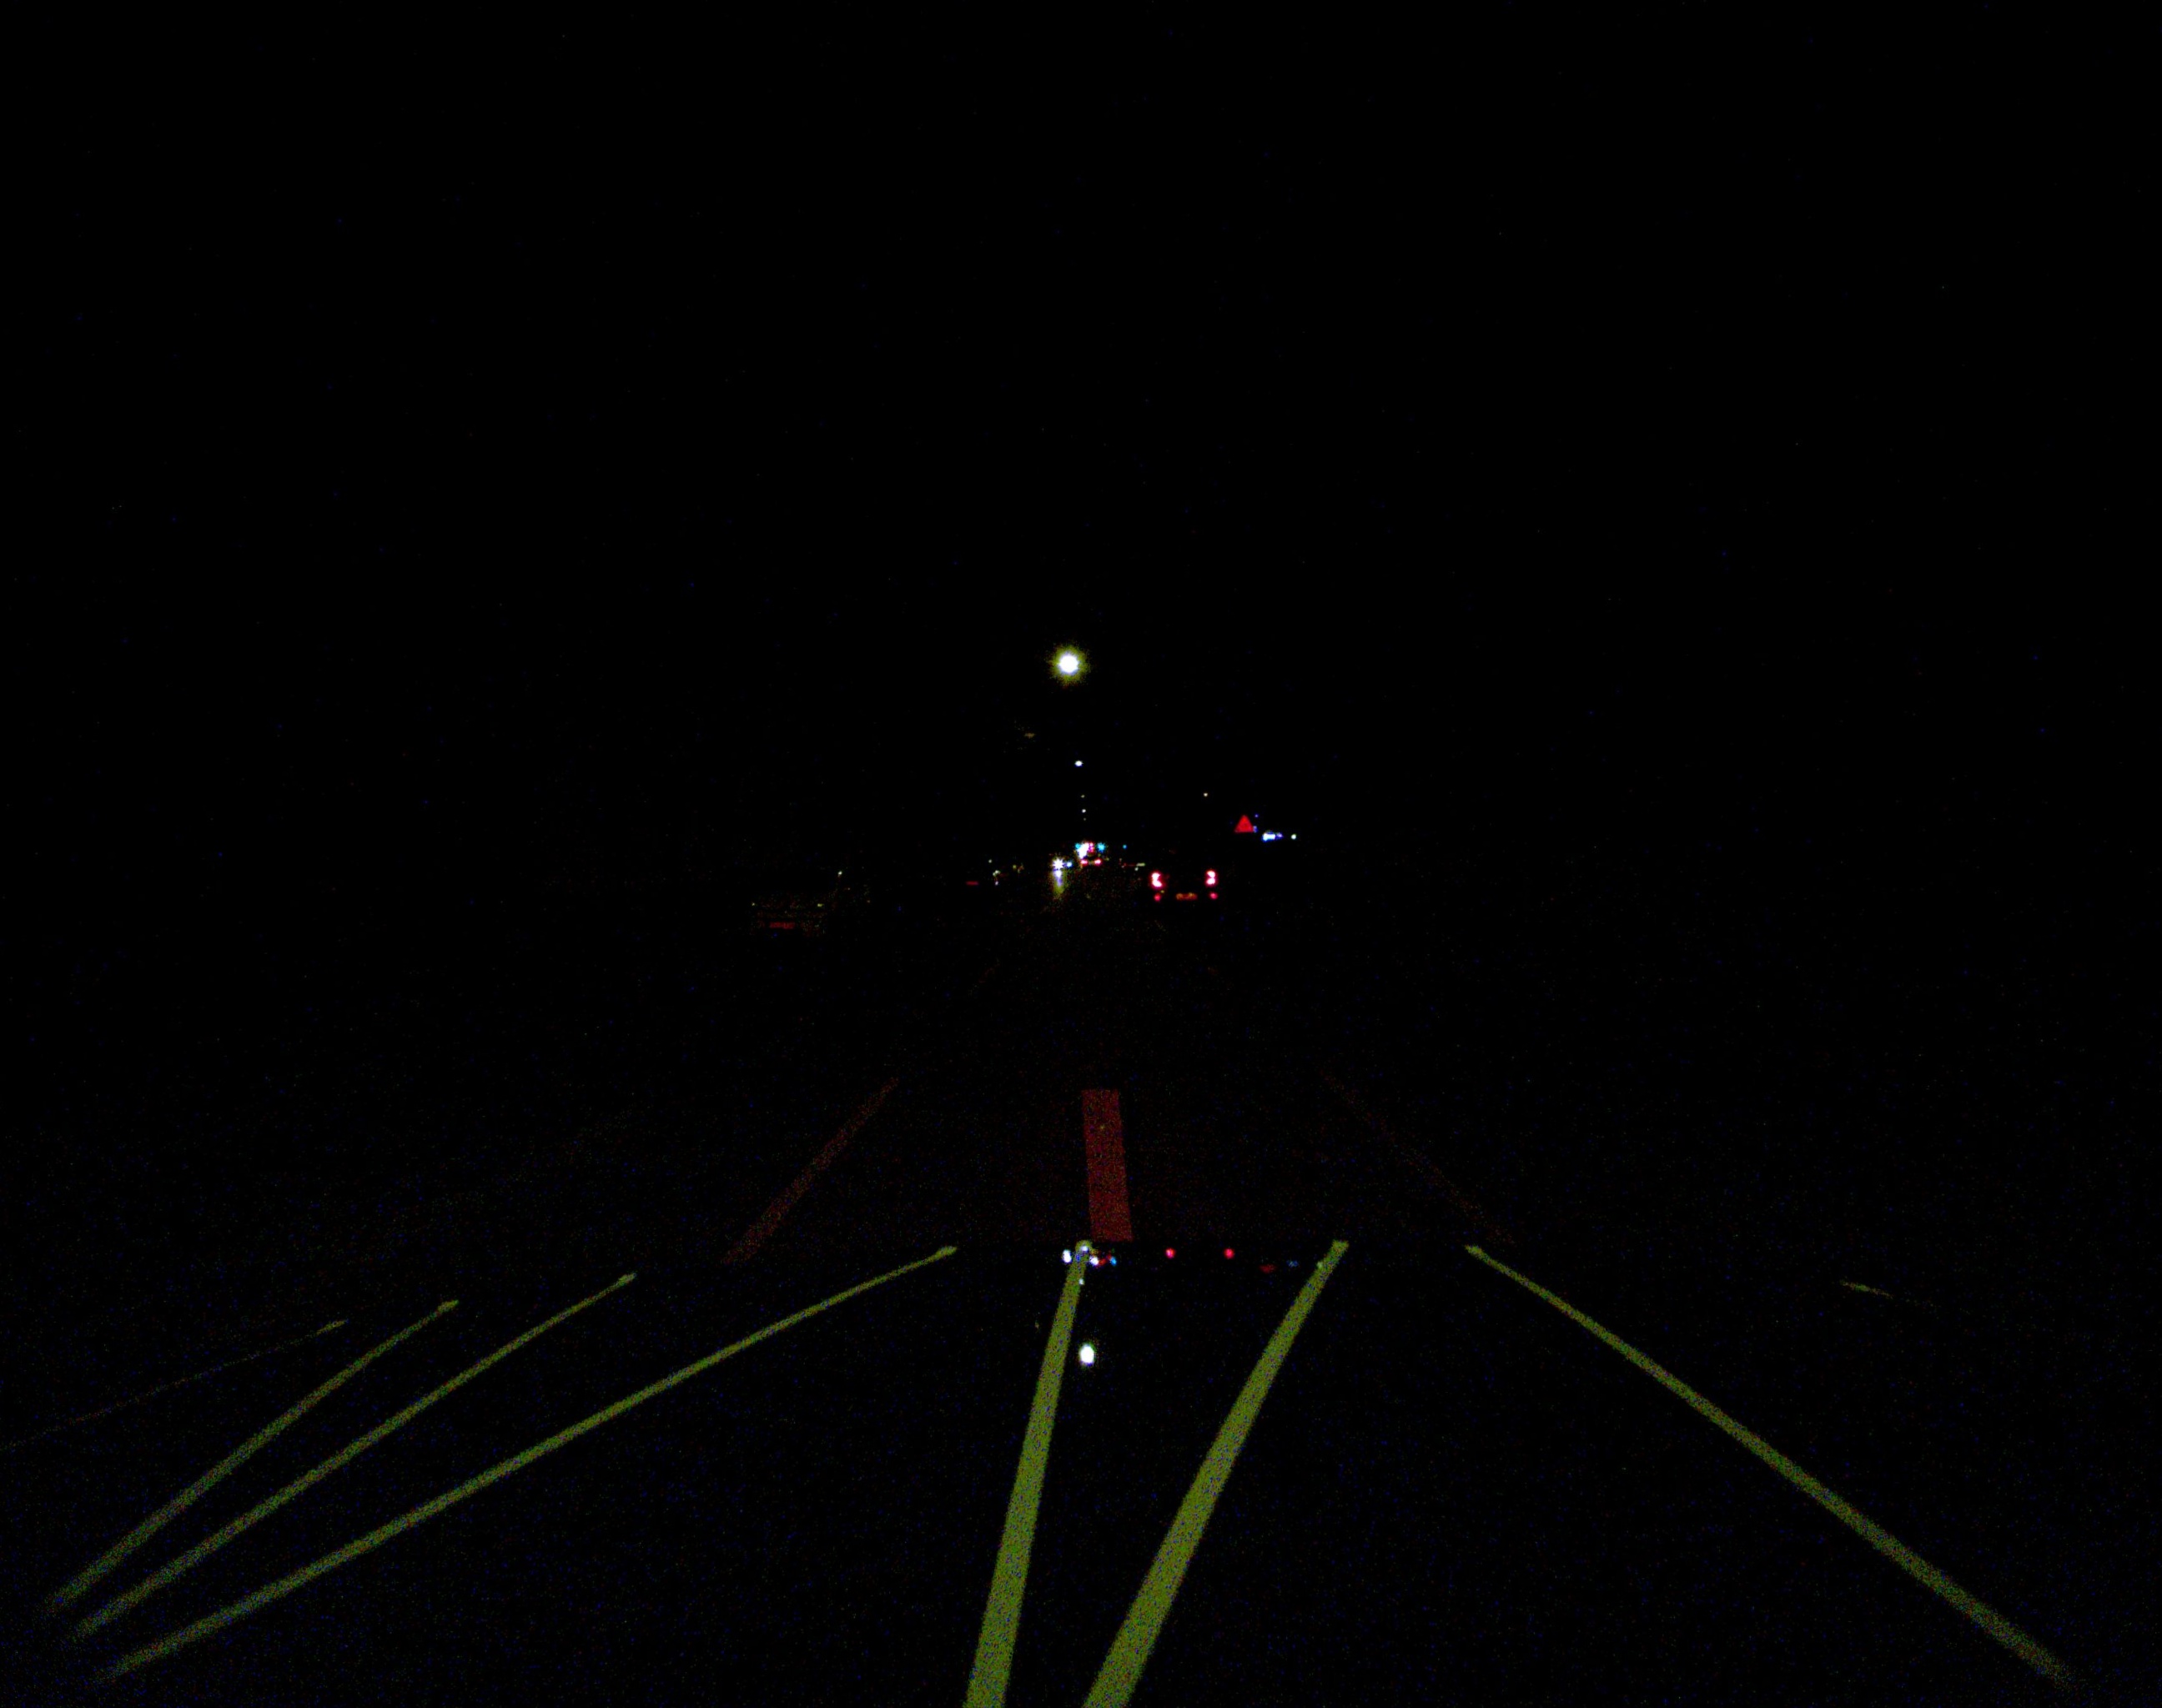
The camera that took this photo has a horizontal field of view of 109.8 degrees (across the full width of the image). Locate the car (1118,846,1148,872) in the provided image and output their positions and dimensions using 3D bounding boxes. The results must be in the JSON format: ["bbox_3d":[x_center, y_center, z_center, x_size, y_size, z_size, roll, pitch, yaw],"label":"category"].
[{"bbox_3d":[3.867,0.347,56.976,1.998,1.772,3.999,-2,1,1],"label":"car"}]

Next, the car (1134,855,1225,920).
[{"bbox_3d":[2.426,0.852,19.524,1.755,1.433,3.487,-2,-2,-2],"label":"car"}]

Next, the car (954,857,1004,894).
[{"bbox_3d":[-4.470,0.904,33.939,1.742,1.489,3.890,-1,0,-1],"label":"car"}]

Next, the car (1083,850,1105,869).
[{"bbox_3d":[1.259,0.504,71.985,1.903,1.581,3.661,-2,1,4],"label":"car"}]

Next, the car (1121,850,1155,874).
[{"bbox_3d":[3.890,0.514,52.072,1.998,1.477,3.999,-3,1,1],"label":"car"}]

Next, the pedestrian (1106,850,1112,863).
[{"bbox_3d":[4.373,0.420,118.135,0.804,2.002,0.940,-2,1,1],"label":"pedestrian"}]

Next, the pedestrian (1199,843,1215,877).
[{"bbox_3d":[6.626,0.336,39.907,0.673,1.750,0.500,-2,1,1],"label":"pedestrian"}]

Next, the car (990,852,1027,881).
[{"bbox_3d":[-4.460,0.750,47.471,1.852,1.643,4.179,-2,0,0],"label":"car"}]

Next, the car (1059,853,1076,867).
[{"bbox_3d":[-1.490,0.641,83.721,1.780,1.477,3.999,-2,1,-1],"label":"car"}]

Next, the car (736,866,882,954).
[{"bbox_3d":[-5.236,1.010,15.113,1.611,1.500,3.486,0,0,1],"label":"car"}]
